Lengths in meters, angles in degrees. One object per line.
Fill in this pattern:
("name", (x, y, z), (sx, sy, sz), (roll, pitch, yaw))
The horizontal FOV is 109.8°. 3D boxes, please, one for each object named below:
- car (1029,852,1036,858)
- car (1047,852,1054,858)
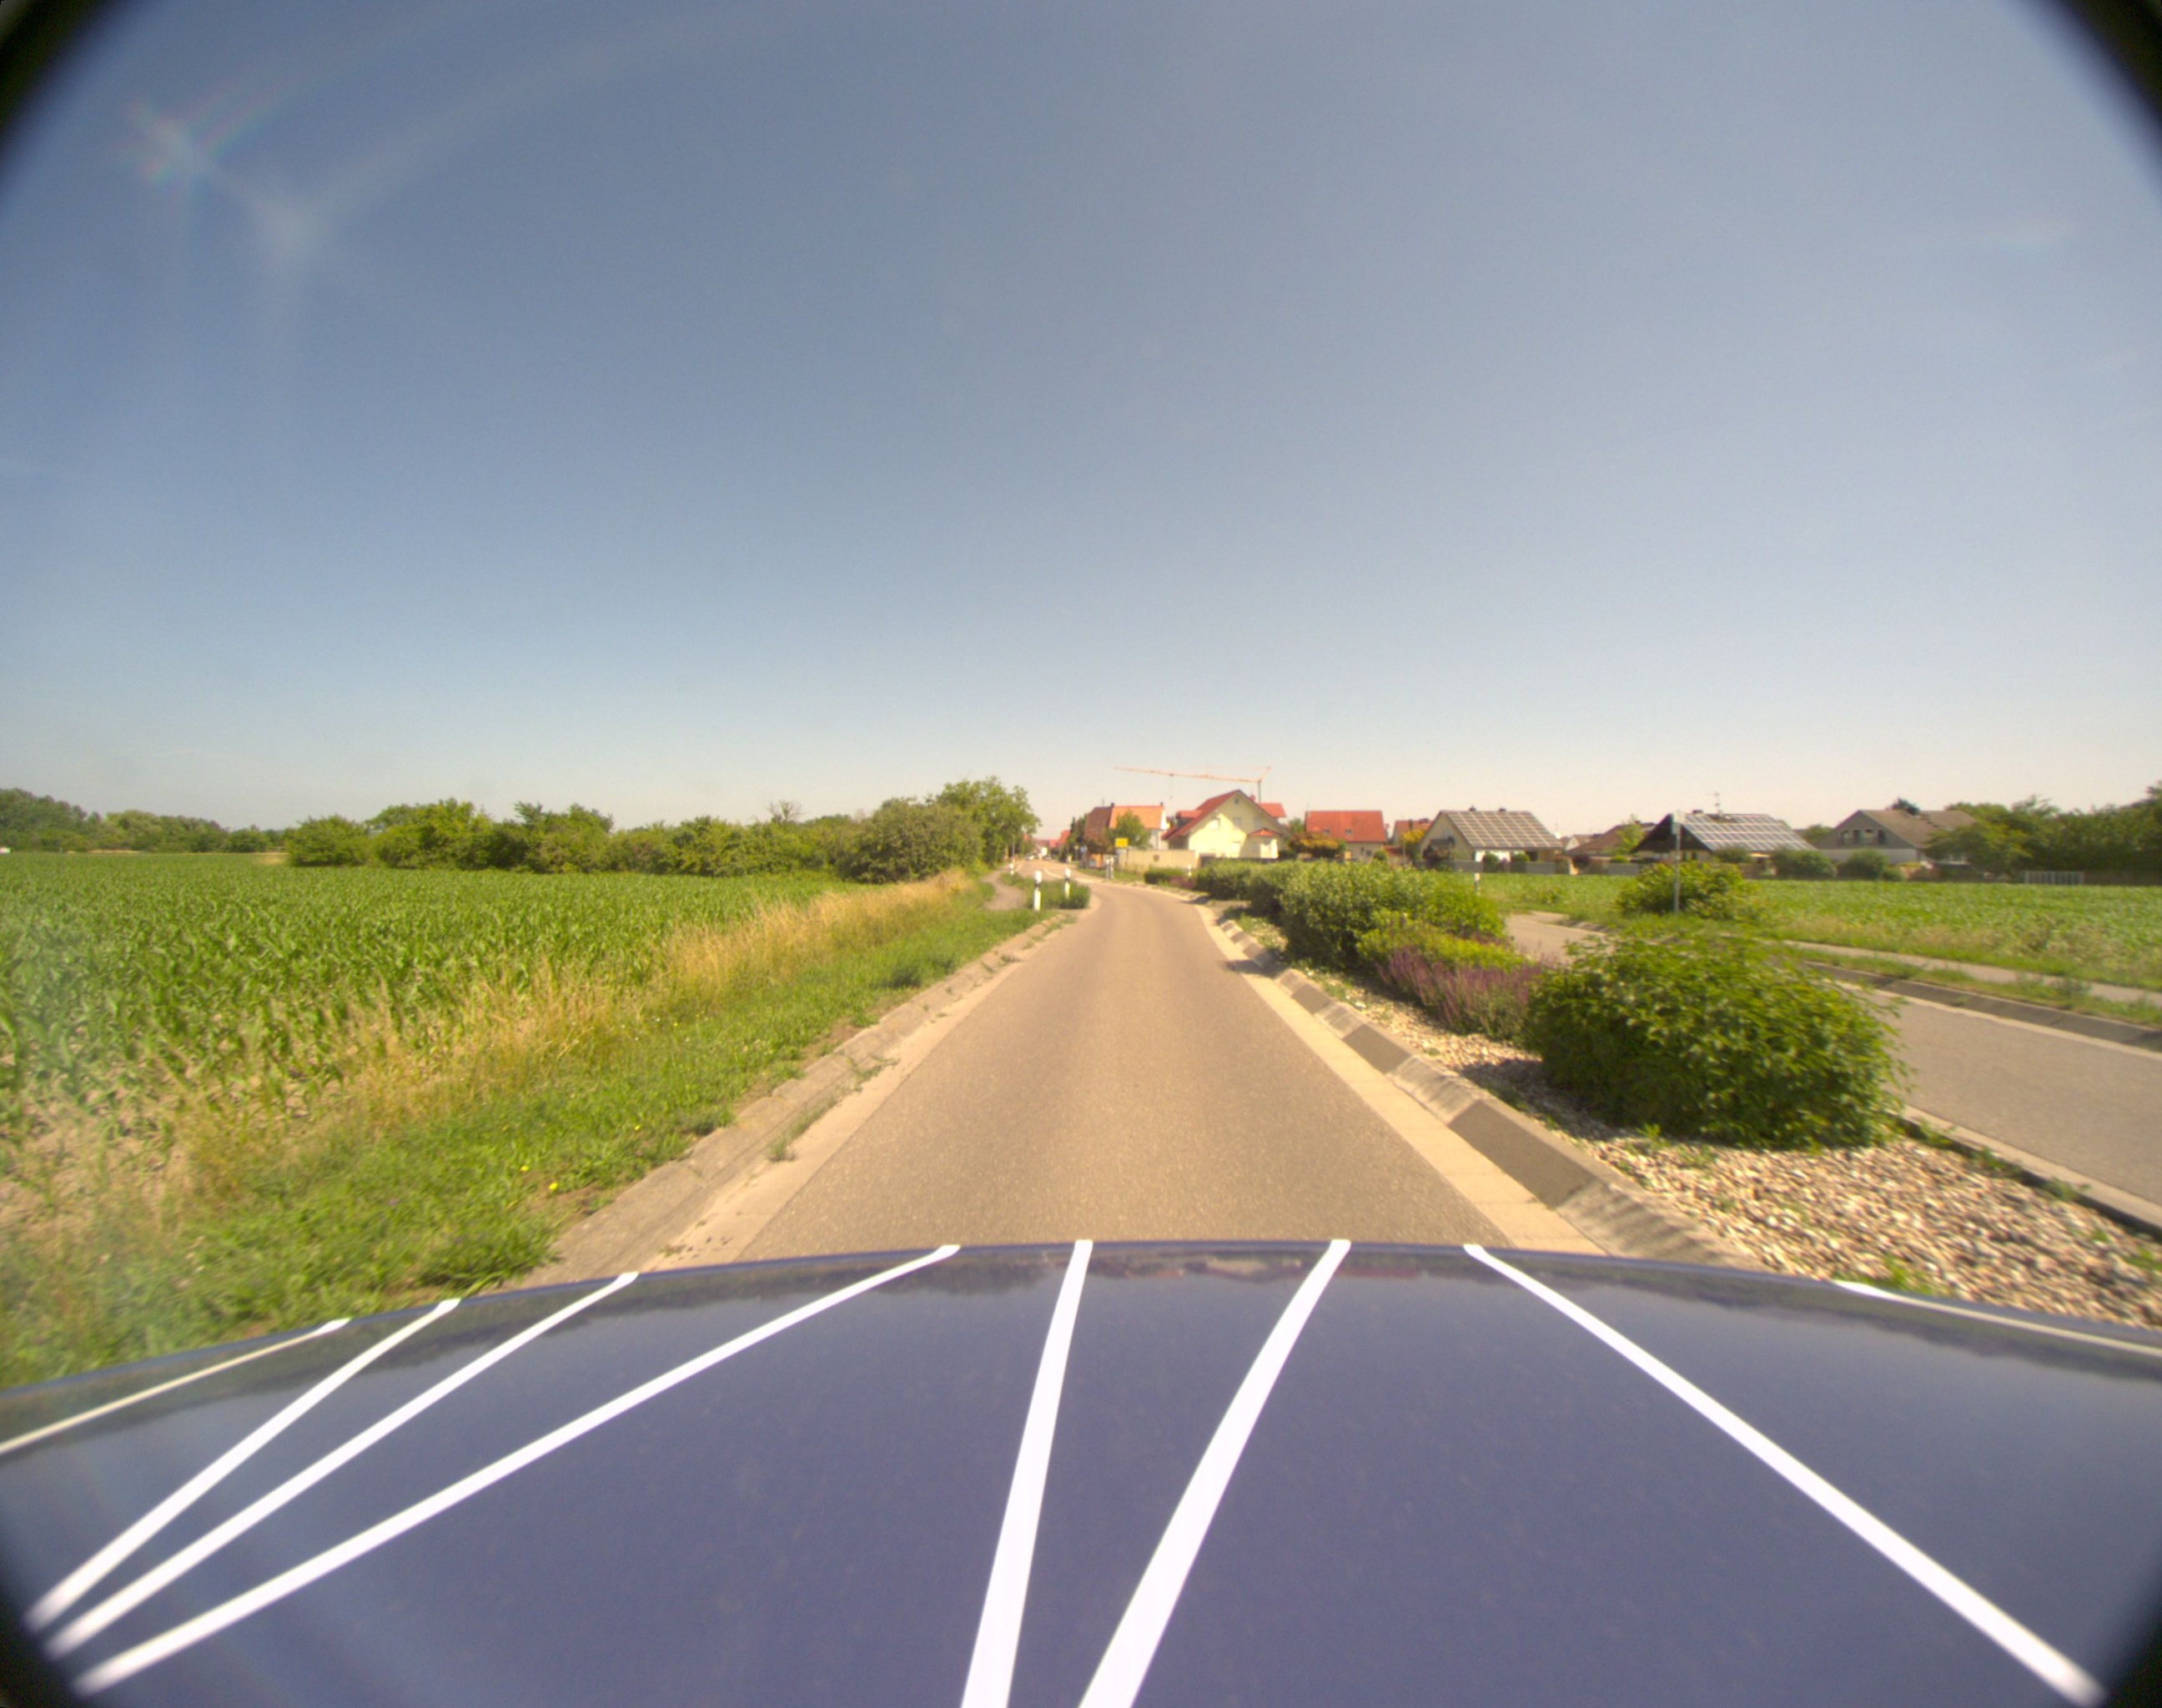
("car", (-12.452, 0.221, 194.532), (1.733, 1.379, 3.531), (1, 0, -3))
("car", (-7.496, 0.308, 188.657), (1.733, 1.379, 3.531), (1, 0, -3))
